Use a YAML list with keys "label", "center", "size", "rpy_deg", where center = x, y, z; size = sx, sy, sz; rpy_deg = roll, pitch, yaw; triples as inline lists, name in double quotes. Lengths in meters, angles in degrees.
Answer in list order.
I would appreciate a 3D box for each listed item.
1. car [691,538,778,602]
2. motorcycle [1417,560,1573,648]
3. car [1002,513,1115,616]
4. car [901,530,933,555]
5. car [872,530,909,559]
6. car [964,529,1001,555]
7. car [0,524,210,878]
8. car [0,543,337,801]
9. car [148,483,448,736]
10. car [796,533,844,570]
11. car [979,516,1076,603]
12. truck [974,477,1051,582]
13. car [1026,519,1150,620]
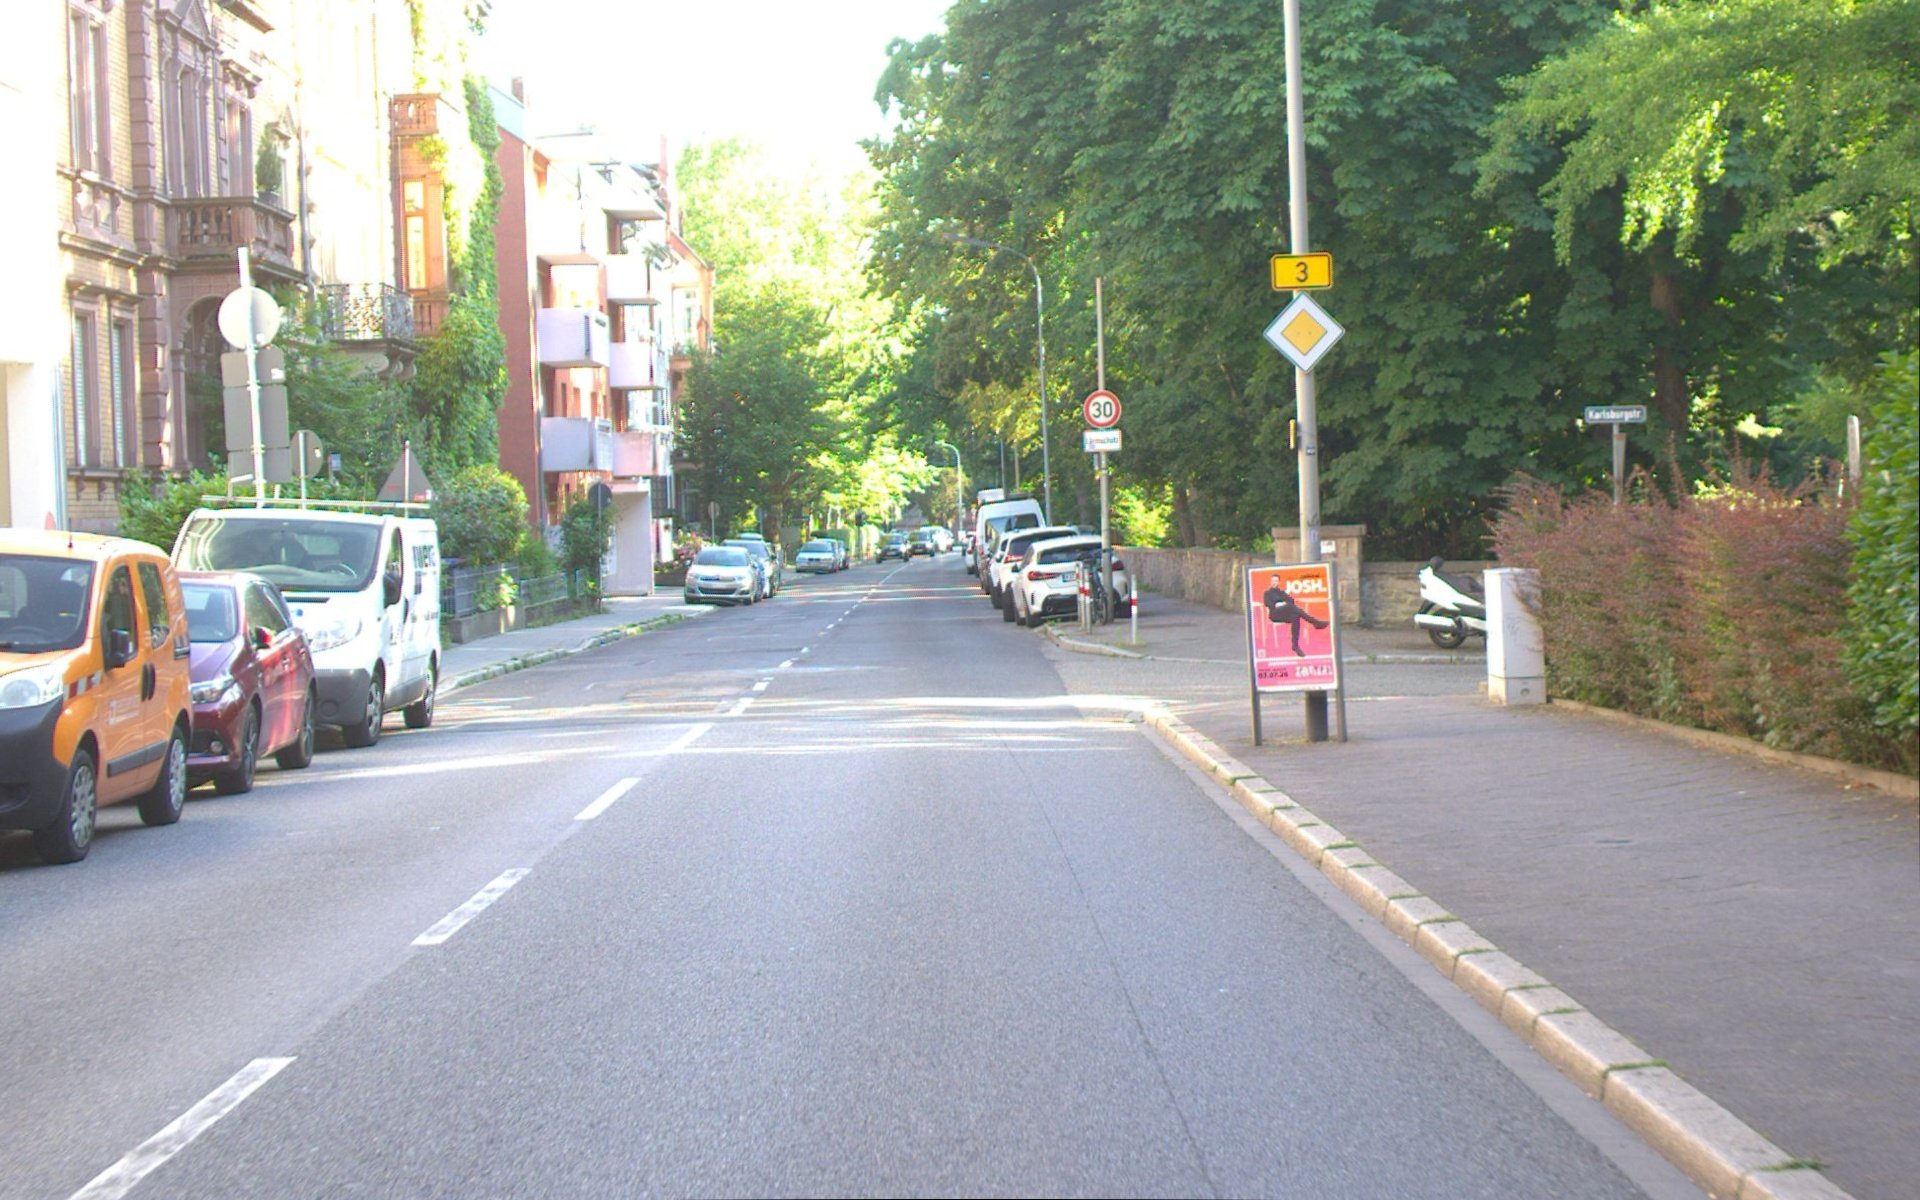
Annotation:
- label: "car"
  center: [-5.935, -0.817, 91.085]
  size: [1.993, 1.486, 4.471]
  rpy_deg: [-2, 2, 0]
- label: "motorcycle"
  center: [6.898, 0.046, 44.391]
  size: [1.906, 1.108, 0.790]
  rpy_deg: [0, 2, 2]
- label: "car"
  center: [1.818, -0.698, 64.290]
  size: [1.993, 1.731, 4.000]
  rpy_deg: [-2, 2, 1]
- label: "car"
  center: [-2.811, -3.760, 224.565]
  size: [1.993, 1.486, 4.471]
  rpy_deg: [-2, 2, 0]
- label: "car"
  center: [-3.904, -3.158, 194.783]
  size: [1.993, 1.486, 4.471]
  rpy_deg: [-2, 2, 0]
- label: "car"
  center: [1.427, -3.738, 220.520]
  size: [1.993, 1.486, 4.471]
  rpy_deg: [-2, 2, -3]
- label: "car"
  center: [-5.343, 0.461, 18.838]
  size: [1.702, 1.732, 3.857]
  rpy_deg: [0, 1, -2]
- label: "car"
  center: [-5.544, 0.431, 24.106]
  size: [1.702, 1.614, 4.118]
  rpy_deg: [0, 1, -2]
- label: "car"
  center: [-5.620, 0.021, 29.716]
  size: [1.793, 2.003, 4.698]
  rpy_deg: [0, 1, -2]
- label: "car"
  center: [-6.400, -2.229, 157.712]
  size: [1.993, 1.486, 4.471]
  rpy_deg: [-2, 2, 0]
- label: "car"
  center: [1.479, -0.907, 75.079]
  size: [1.993, 1.731, 4.000]
  rpy_deg: [-2, 2, 1]
- label: "truck"
  center: [1.509, -2.089, 99.884]
  size: [1.993, 2.886, 4.471]
  rpy_deg: [-2, 2, -1]
- label: "car"
  center: [2.150, -0.549, 58.657]
  size: [1.993, 1.512, 4.000]
  rpy_deg: [-2, 2, 1]
